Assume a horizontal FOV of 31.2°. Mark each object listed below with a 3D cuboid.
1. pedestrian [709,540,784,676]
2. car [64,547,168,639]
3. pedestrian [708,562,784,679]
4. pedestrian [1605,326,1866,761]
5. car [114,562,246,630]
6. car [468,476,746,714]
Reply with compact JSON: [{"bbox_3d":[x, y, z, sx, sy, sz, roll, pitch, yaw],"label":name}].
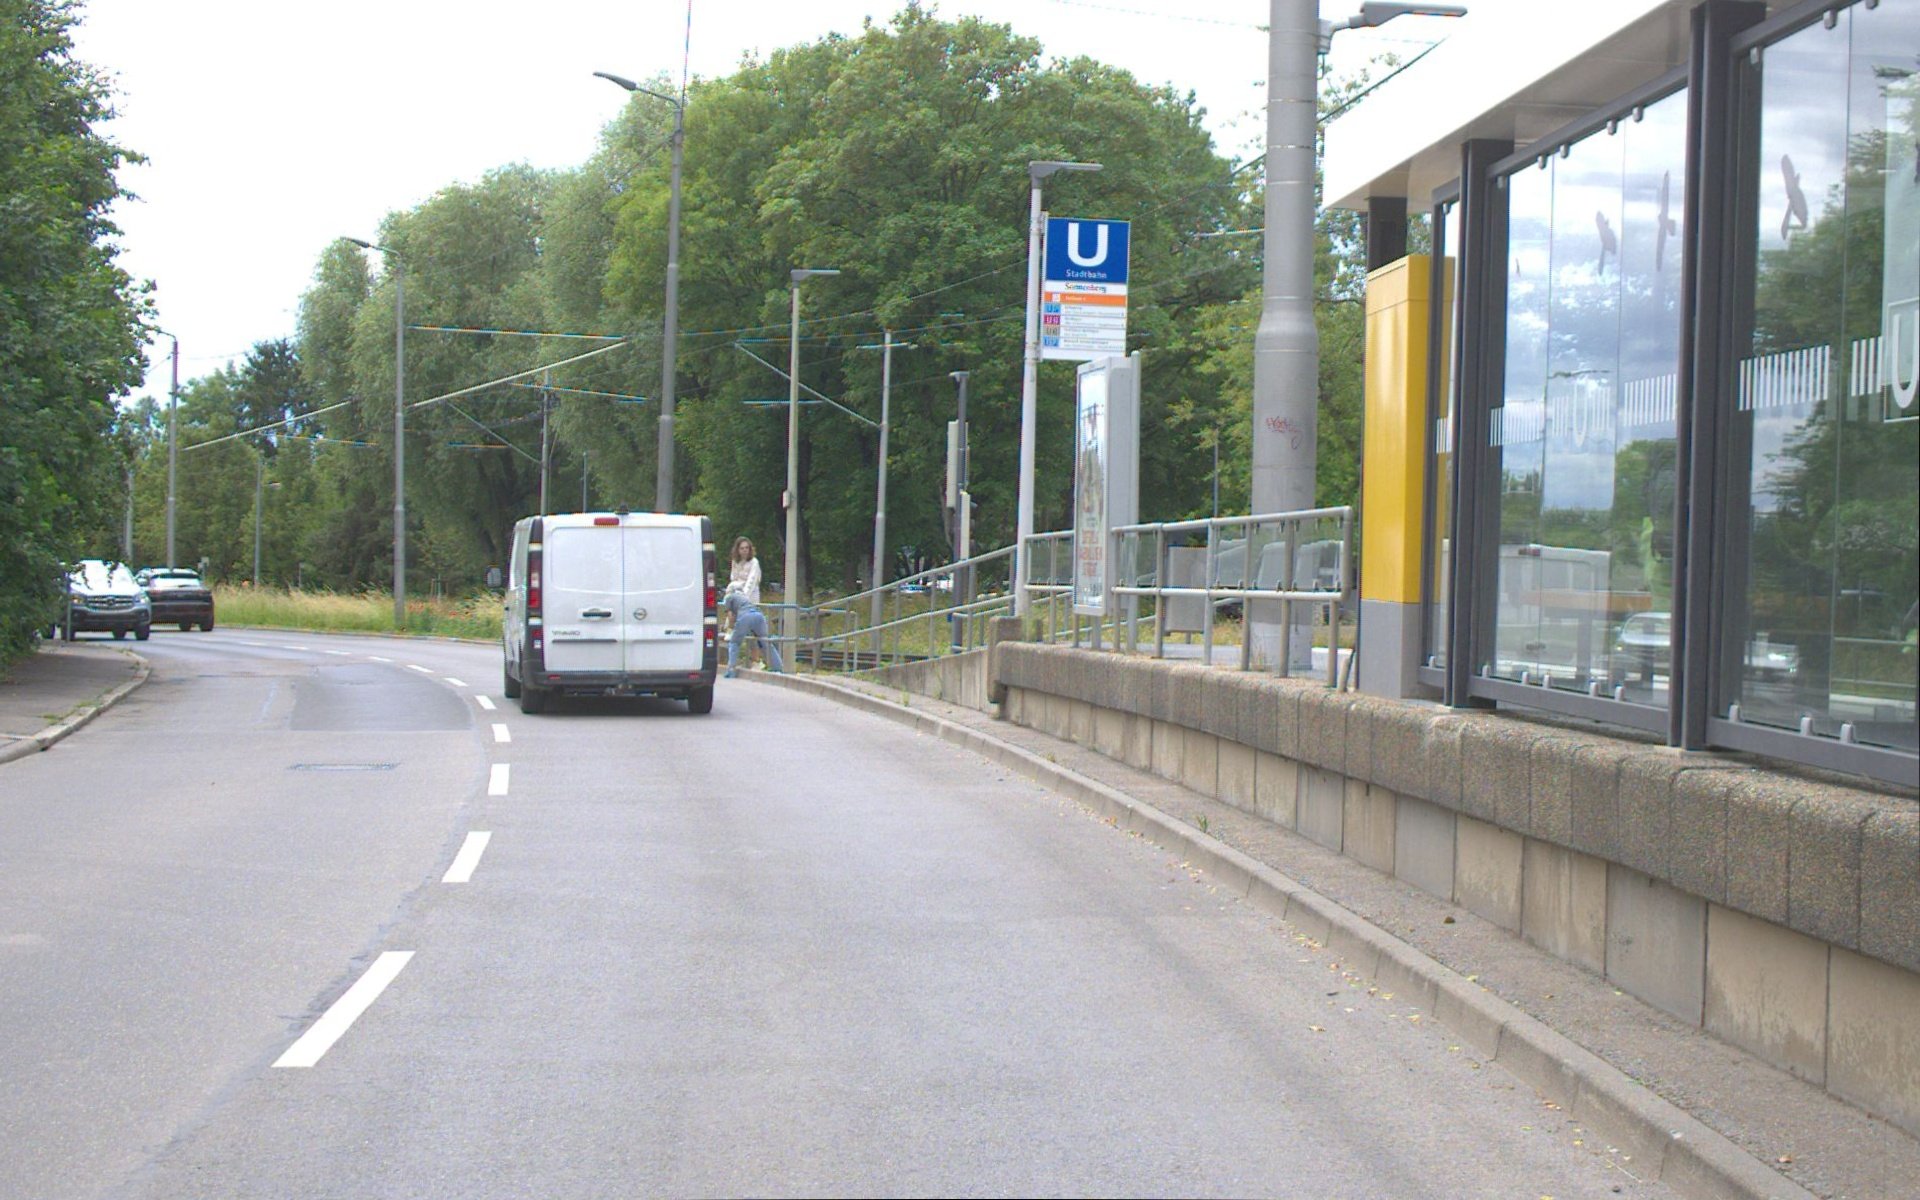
[{"bbox_3d":[-2.840,0.107,45.718,0.758,1.789,0.631,1,0,-29],"label":"pedestrian"},{"bbox_3d":[-19.078,-0.180,77.605,1.993,2.007,4.325,1,0,-17],"label":"car"},{"bbox_3d":[-2.756,0.265,44.258,0.758,1.487,0.631,1,0,-29],"label":"pedestrian"},{"bbox_3d":[2.584,-0.192,11.525,0.638,1.399,0.765,1,2,-3],"label":"pedestrian"},{"bbox_3d":[-20.187,-0.110,88.828,2.355,1.559,4.373,3,0,-25],"label":"car"},{"bbox_3d":[-3.653,-0.062,34.629,2.116,2.127,5.442,2,0,-12],"label":"car"}]
